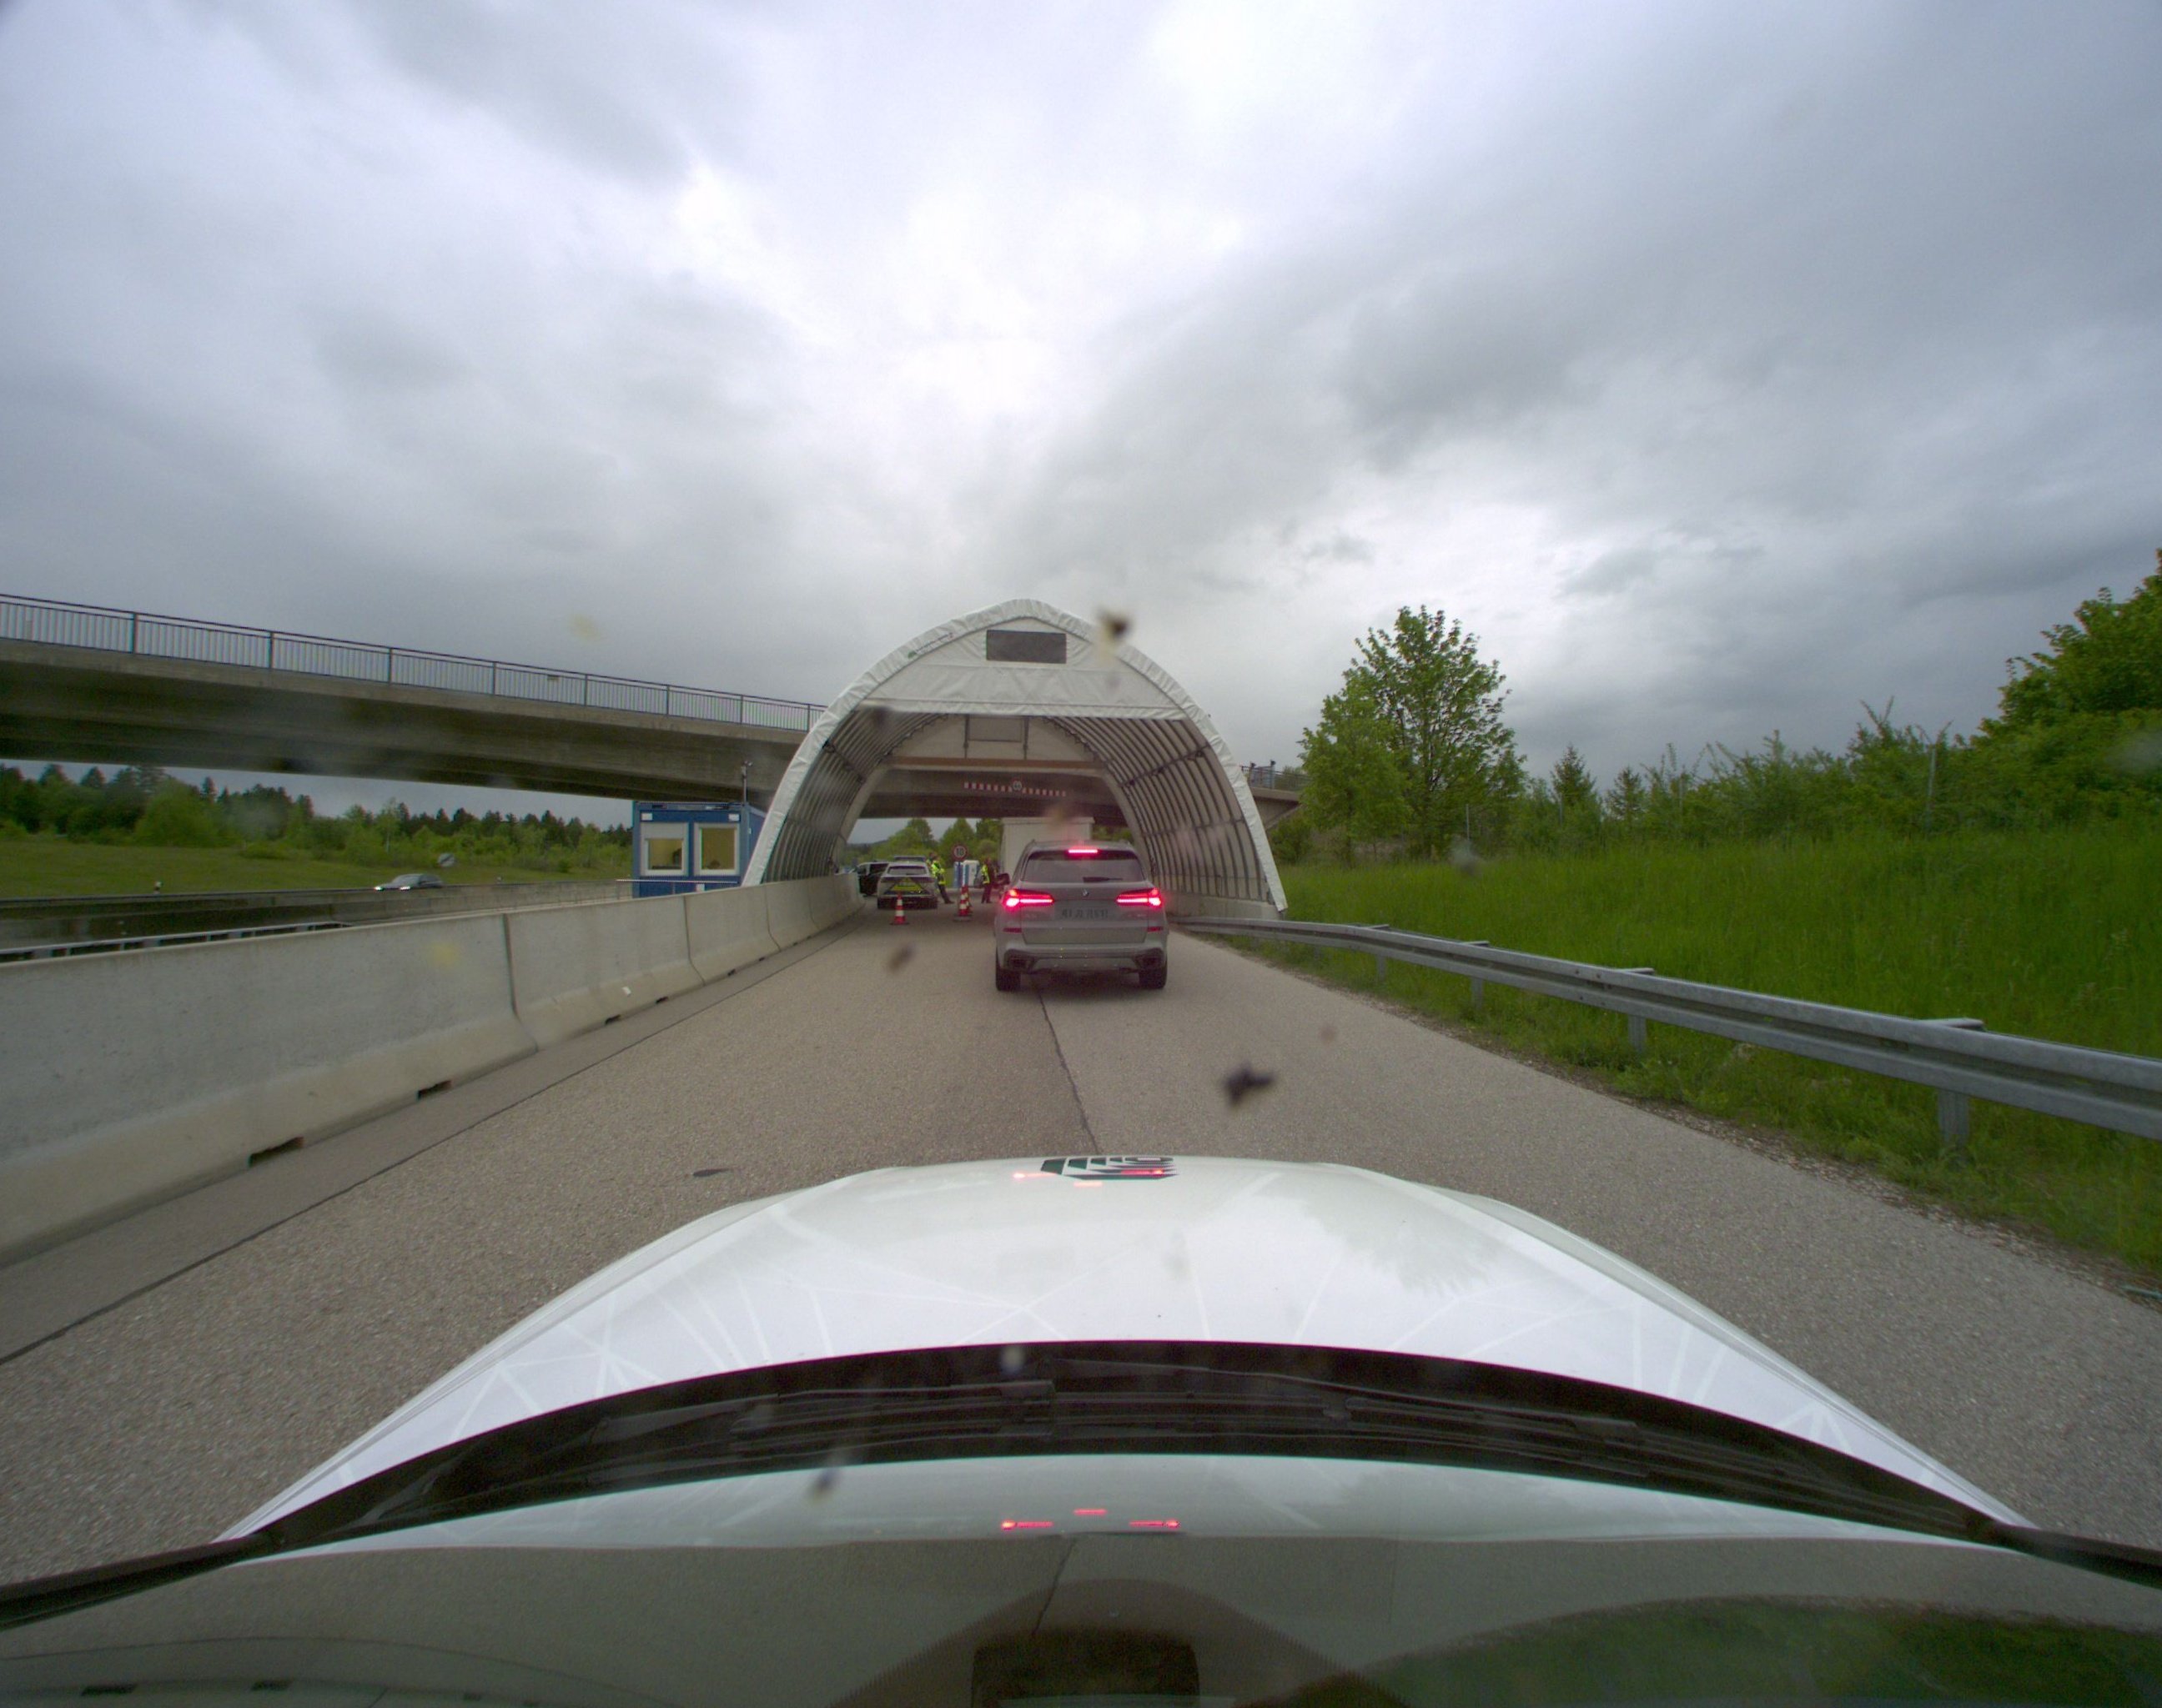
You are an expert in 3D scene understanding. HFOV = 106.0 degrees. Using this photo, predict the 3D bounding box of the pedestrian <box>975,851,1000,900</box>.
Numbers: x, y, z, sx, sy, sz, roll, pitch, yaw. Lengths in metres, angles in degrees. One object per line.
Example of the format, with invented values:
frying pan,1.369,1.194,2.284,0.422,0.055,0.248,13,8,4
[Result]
pedestrian,-3.391,0.764,29.597,0.756,1.722,0.778,-1,-1,-16

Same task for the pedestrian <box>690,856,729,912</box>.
pedestrian,-9.250,0.735,20.308,0.606,1.373,0.629,-2,-1,10

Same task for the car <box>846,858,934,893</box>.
car,-11.555,1.287,49.422,4.777,2.014,1.845,-1,-1,9

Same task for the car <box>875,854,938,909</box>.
car,-5.781,0.873,27.032,1.879,1.647,3.983,-1,-1,-12

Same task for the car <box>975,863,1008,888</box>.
car,-6.486,1.542,58.711,1.994,1.722,3.882,-1,-1,-11

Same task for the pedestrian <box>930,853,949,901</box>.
pedestrian,-5.239,0.849,30.150,0.607,1.754,0.665,-1,-1,-4

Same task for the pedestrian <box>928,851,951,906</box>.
pedestrian,-5.084,0.868,29.202,0.750,1.919,0.759,-1,-1,-13

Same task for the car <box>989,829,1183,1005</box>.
car,-0.156,0.670,10.478,1.992,1.765,3.990,-1,-1,-7

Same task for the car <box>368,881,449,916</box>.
car,-43.368,2.823,52.691,1.987,1.955,5.084,-1,-1,-14

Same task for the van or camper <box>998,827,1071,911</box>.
van or camper,-1.694,0.492,27.671,2.102,2.519,5.537,-1,-1,-7

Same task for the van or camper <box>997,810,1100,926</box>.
van or camper,-1.059,0.355,21.577,2.227,2.552,6.595,-1,-1,-6
